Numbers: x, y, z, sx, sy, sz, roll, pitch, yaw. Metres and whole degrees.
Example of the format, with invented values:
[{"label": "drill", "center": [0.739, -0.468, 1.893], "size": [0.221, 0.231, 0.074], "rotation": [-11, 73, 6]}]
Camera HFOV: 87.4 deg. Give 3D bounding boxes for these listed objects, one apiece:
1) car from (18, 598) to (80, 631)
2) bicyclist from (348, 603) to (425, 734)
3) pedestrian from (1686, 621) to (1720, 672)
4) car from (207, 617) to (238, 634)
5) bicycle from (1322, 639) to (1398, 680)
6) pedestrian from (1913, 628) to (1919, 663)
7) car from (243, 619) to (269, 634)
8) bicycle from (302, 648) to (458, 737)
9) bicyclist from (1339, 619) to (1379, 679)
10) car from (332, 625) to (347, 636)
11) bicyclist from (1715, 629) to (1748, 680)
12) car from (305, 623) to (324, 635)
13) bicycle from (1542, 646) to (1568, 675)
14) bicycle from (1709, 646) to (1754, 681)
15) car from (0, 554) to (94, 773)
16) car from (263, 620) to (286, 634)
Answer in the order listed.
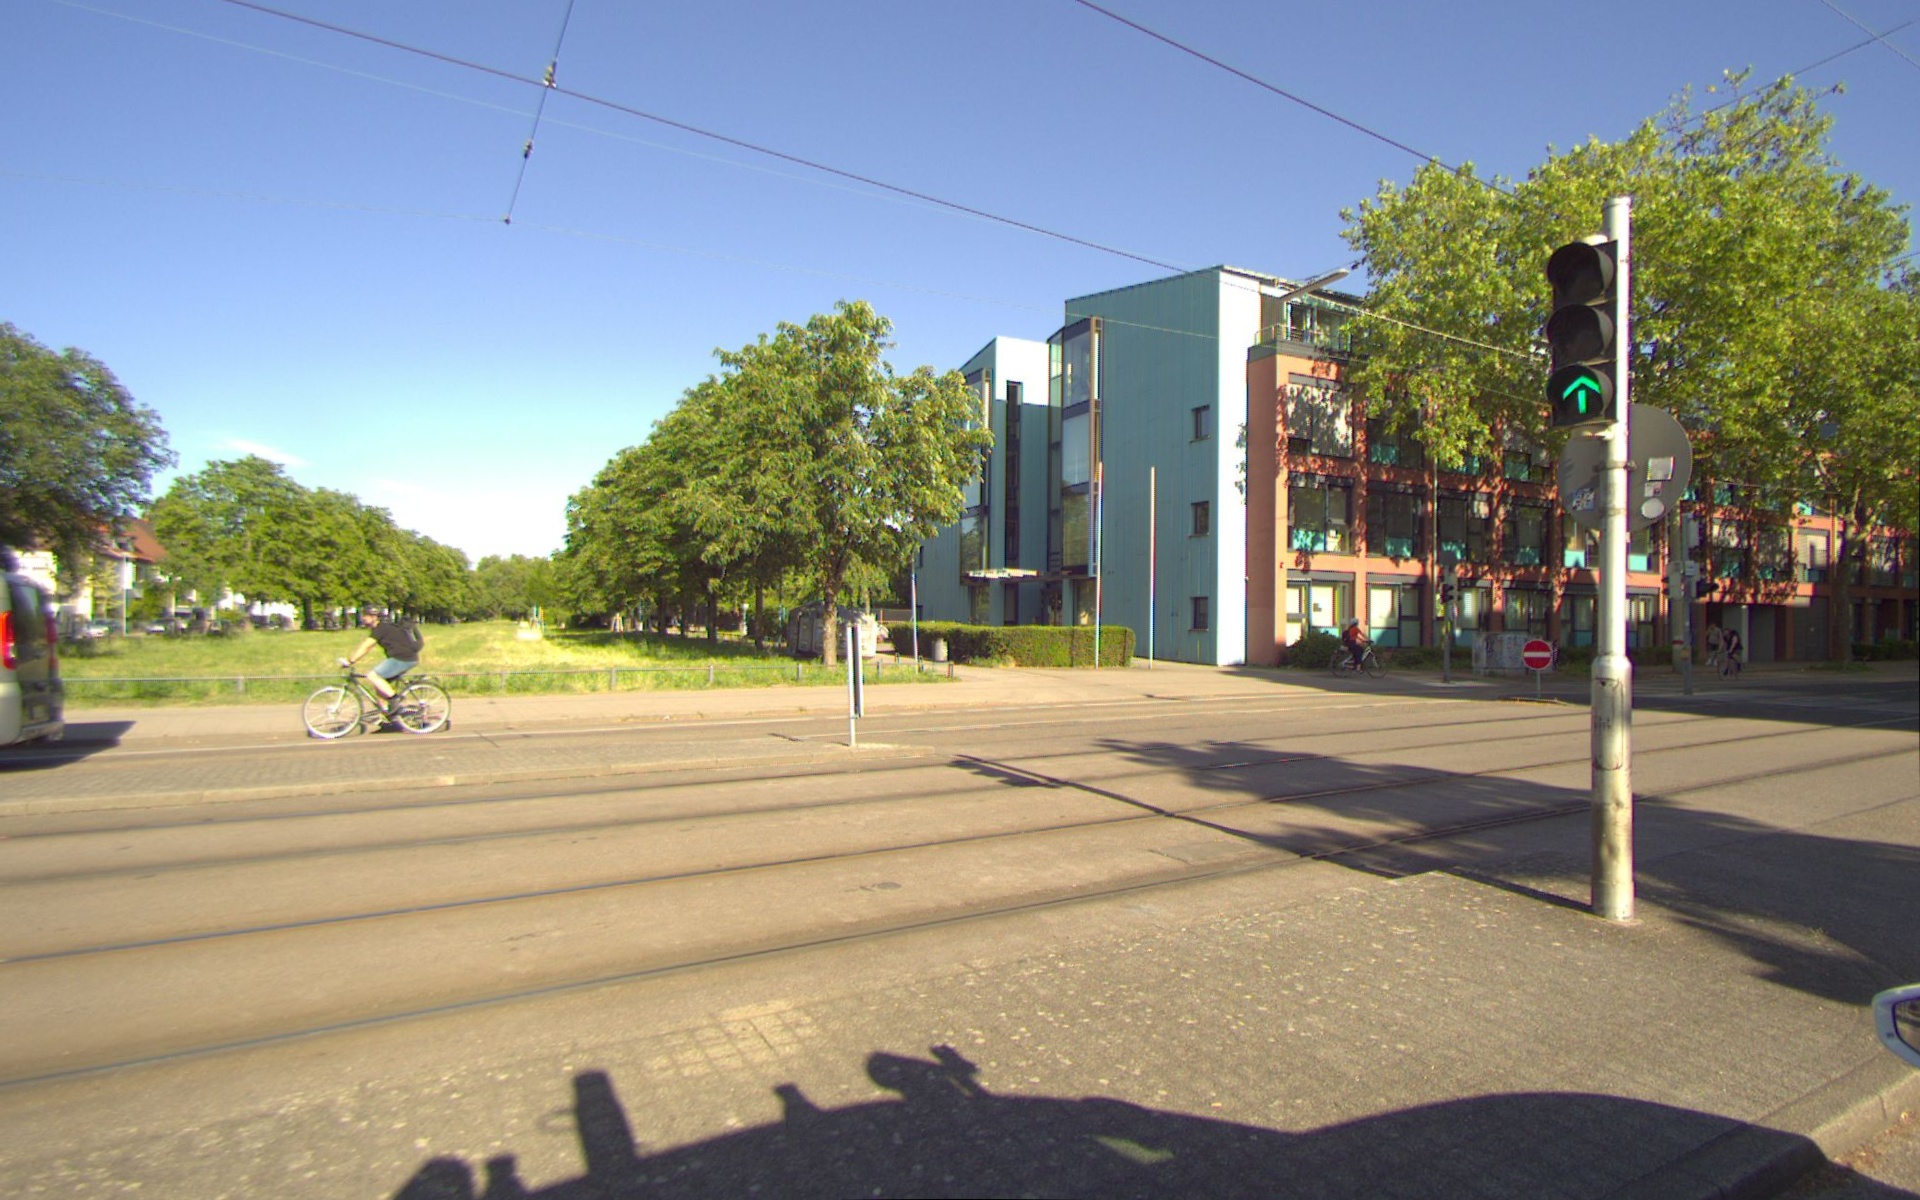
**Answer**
[{"label": "car", "center": [-59.960, 0.971, 66.210], "size": [1.791, 2.122, 4.159], "rotation": [1, -1, -24]}, {"label": "bicyclist", "center": [-7.880, 0.924, 13.818], "size": [0.891, 1.733, 0.584], "rotation": [1, -2, -30]}, {"label": "pedestrian", "center": [30.660, 1.904, 41.458], "size": [0.773, 2.041, 0.904], "rotation": [0, 1, -35]}, {"label": "car", "center": [-77.217, 2.625, 105.179], "size": [1.791, 1.766, 3.864], "rotation": [1, -1, -24]}, {"label": "bicycle", "center": [11.861, 1.753, 29.840], "size": [1.996, 1.144, 0.633], "rotation": [1, 1, -2]}, {"label": "pedestrian", "center": [49.246, 2.338, 51.258], "size": [0.889, 1.741, 0.623], "rotation": [1, 1, -28]}, {"label": "car", "center": [-83.338, 3.173, 119.021], "size": [1.791, 1.766, 3.864], "rotation": [1, -1, -24]}, {"label": "bicycle", "center": [-7.916, 1.233, 13.787], "size": [1.805, 1.128, 0.584], "rotation": [1, -2, -30]}, {"label": "bicyclist", "center": [11.844, 1.453, 29.835], "size": [0.914, 1.715, 0.606], "rotation": [1, 1, -2]}, {"label": "car", "center": [-107.630, 5.294, 174.274], "size": [1.791, 1.766, 3.864], "rotation": [1, -1, -24]}, {"label": "bicyclist", "center": [25.481, 1.787, 33.187], "size": [0.773, 1.633, 0.640], "rotation": [0, 1, -35]}, {"label": "car", "center": [-96.227, 4.335, 149.754], "size": [1.791, 1.766, 3.864], "rotation": [1, -1, -24]}, {"label": "bicycle", "center": [19.776, 1.997, 33.375], "size": [0.514, 0.918, 1.537], "rotation": [0, -2, 39]}, {"label": "bicycle", "center": [25.508, 2.075, 33.211], "size": [1.906, 1.056, 0.640], "rotation": [1, 1, -36]}, {"label": "car", "center": [-11.333, 0.635, 8.964], "size": [5.193, 2.040, 2.009], "rotation": [0, -2, -33]}, {"label": "car", "center": [-88.199, 3.509, 129.296], "size": [1.791, 1.766, 3.864], "rotation": [1, -1, -24]}]
